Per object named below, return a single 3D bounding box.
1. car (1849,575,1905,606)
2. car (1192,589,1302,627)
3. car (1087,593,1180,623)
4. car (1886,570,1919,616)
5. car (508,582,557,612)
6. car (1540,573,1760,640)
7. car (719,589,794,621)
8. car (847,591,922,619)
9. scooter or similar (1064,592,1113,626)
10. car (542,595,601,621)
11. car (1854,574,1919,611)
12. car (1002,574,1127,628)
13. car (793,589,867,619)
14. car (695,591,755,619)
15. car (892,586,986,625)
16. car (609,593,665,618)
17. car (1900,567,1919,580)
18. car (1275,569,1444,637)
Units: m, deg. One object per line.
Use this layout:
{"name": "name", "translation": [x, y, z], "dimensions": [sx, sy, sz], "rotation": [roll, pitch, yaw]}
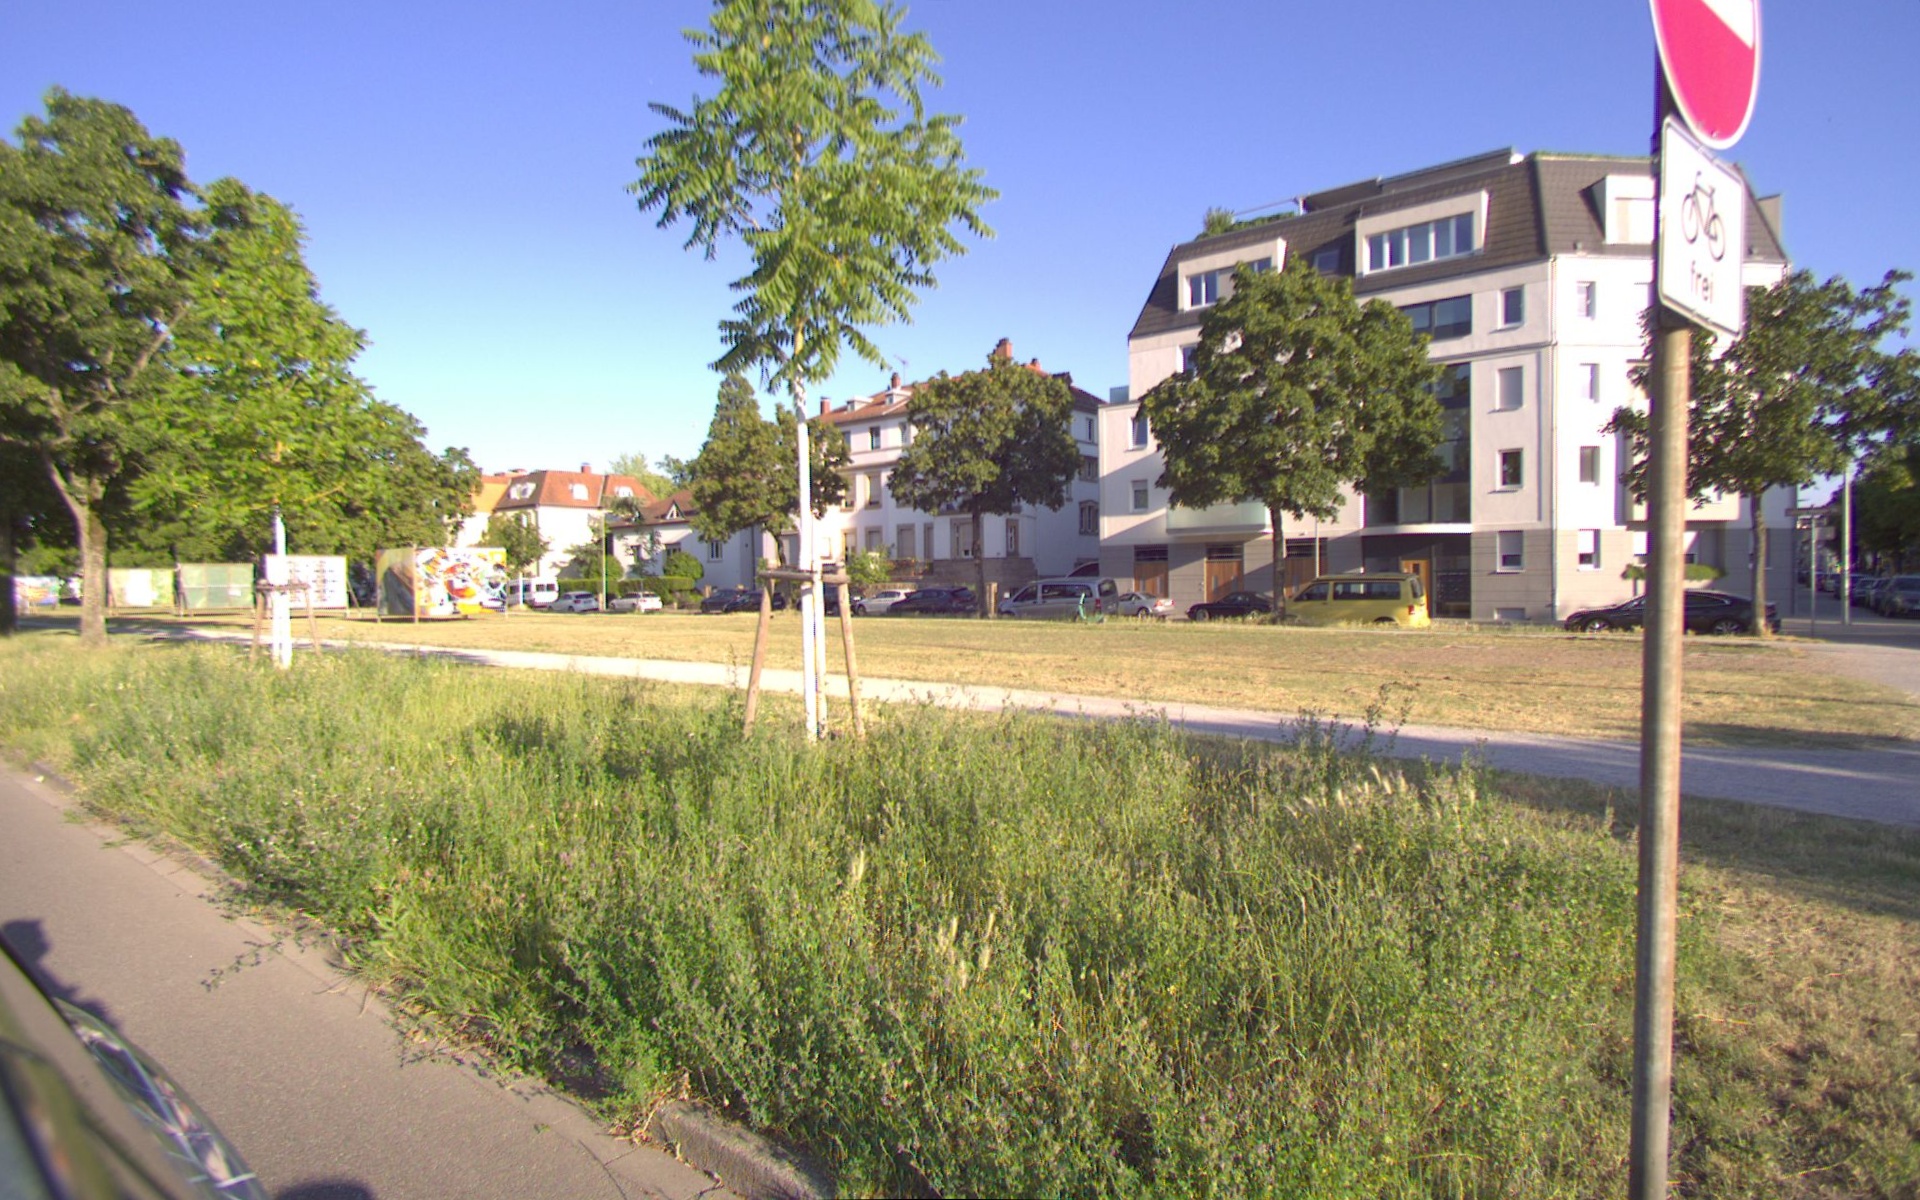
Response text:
{"name": "car", "translation": [44.494, -0.464, 49.167], "dimensions": [1.762, 1.458, 4.088], "rotation": [0, 1, 39]}
{"name": "car", "translation": [11.708, 0.322, 41.369], "dimensions": [3.997, 1.474, 1.655], "rotation": [0, 1, 40]}
{"name": "car", "translation": [7.595, 0.336, 44.381], "dimensions": [3.723, 1.249, 1.606], "rotation": [0, 0, 36]}
{"name": "car", "translation": [35.252, -0.271, 36.817], "dimensions": [1.887, 1.603, 4.040], "rotation": [0, 1, 36]}
{"name": "car", "translation": [-33.056, -0.240, 78.192], "dimensions": [4.130, 2.230, 1.972], "rotation": [0, 1, 42]}
{"name": "car", "translation": [18.763, 0.157, 27.655], "dimensions": [4.836, 1.681, 1.765], "rotation": [0, 1, 40]}
{"name": "car", "translation": [-10.535, 0.260, 52.373], "dimensions": [3.833, 1.592, 1.802], "rotation": [0, 1, 40]}
{"name": "car", "translation": [-4.081, 0.242, 54.371], "dimensions": [4.004, 1.457, 1.621], "rotation": [0, 0, 39]}
{"name": "scooter or similar", "translation": [4.328, 0.304, 34.052], "dimensions": [1.647, 1.124, 0.447], "rotation": [0, 1, 40]}
{"name": "car", "translation": [-24.566, 0.508, 63.923], "dimensions": [3.833, 1.592, 1.802], "rotation": [0, 1, 40]}
{"name": "car", "translation": [42.024, -0.367, 45.887], "dimensions": [1.887, 1.603, 4.040], "rotation": [0, 1, 36]}
{"name": "car", "translation": [4.099, 0.015, 40.177], "dimensions": [4.570, 2.029, 2.052], "rotation": [0, 0, 39]}
{"name": "car", "translation": [-7.371, 0.199, 57.138], "dimensions": [4.159, 1.592, 1.802], "rotation": [0, 1, 40]}
{"name": "car", "translation": [-14.627, 0.297, 62.829], "dimensions": [3.998, 1.674, 1.621], "rotation": [0, 1, 41]}
{"name": "car", "translation": [-0.930, 0.209, 43.863], "dimensions": [3.833, 1.592, 1.802], "rotation": [0, 1, 40]}
{"name": "car", "translation": [-22.228, 0.360, 69.561], "dimensions": [3.964, 1.592, 1.802], "rotation": [0, 1, 40]}
{"name": "car", "translation": [112.692, -3.166, 118.355], "dimensions": [3.854, 1.493, 1.781], "rotation": [-1, 1, 40]}
{"name": "car", "translation": [12.814, 0.074, 32.621], "dimensions": [4.689, 2.029, 2.007], "rotation": [0, 0, 39]}
